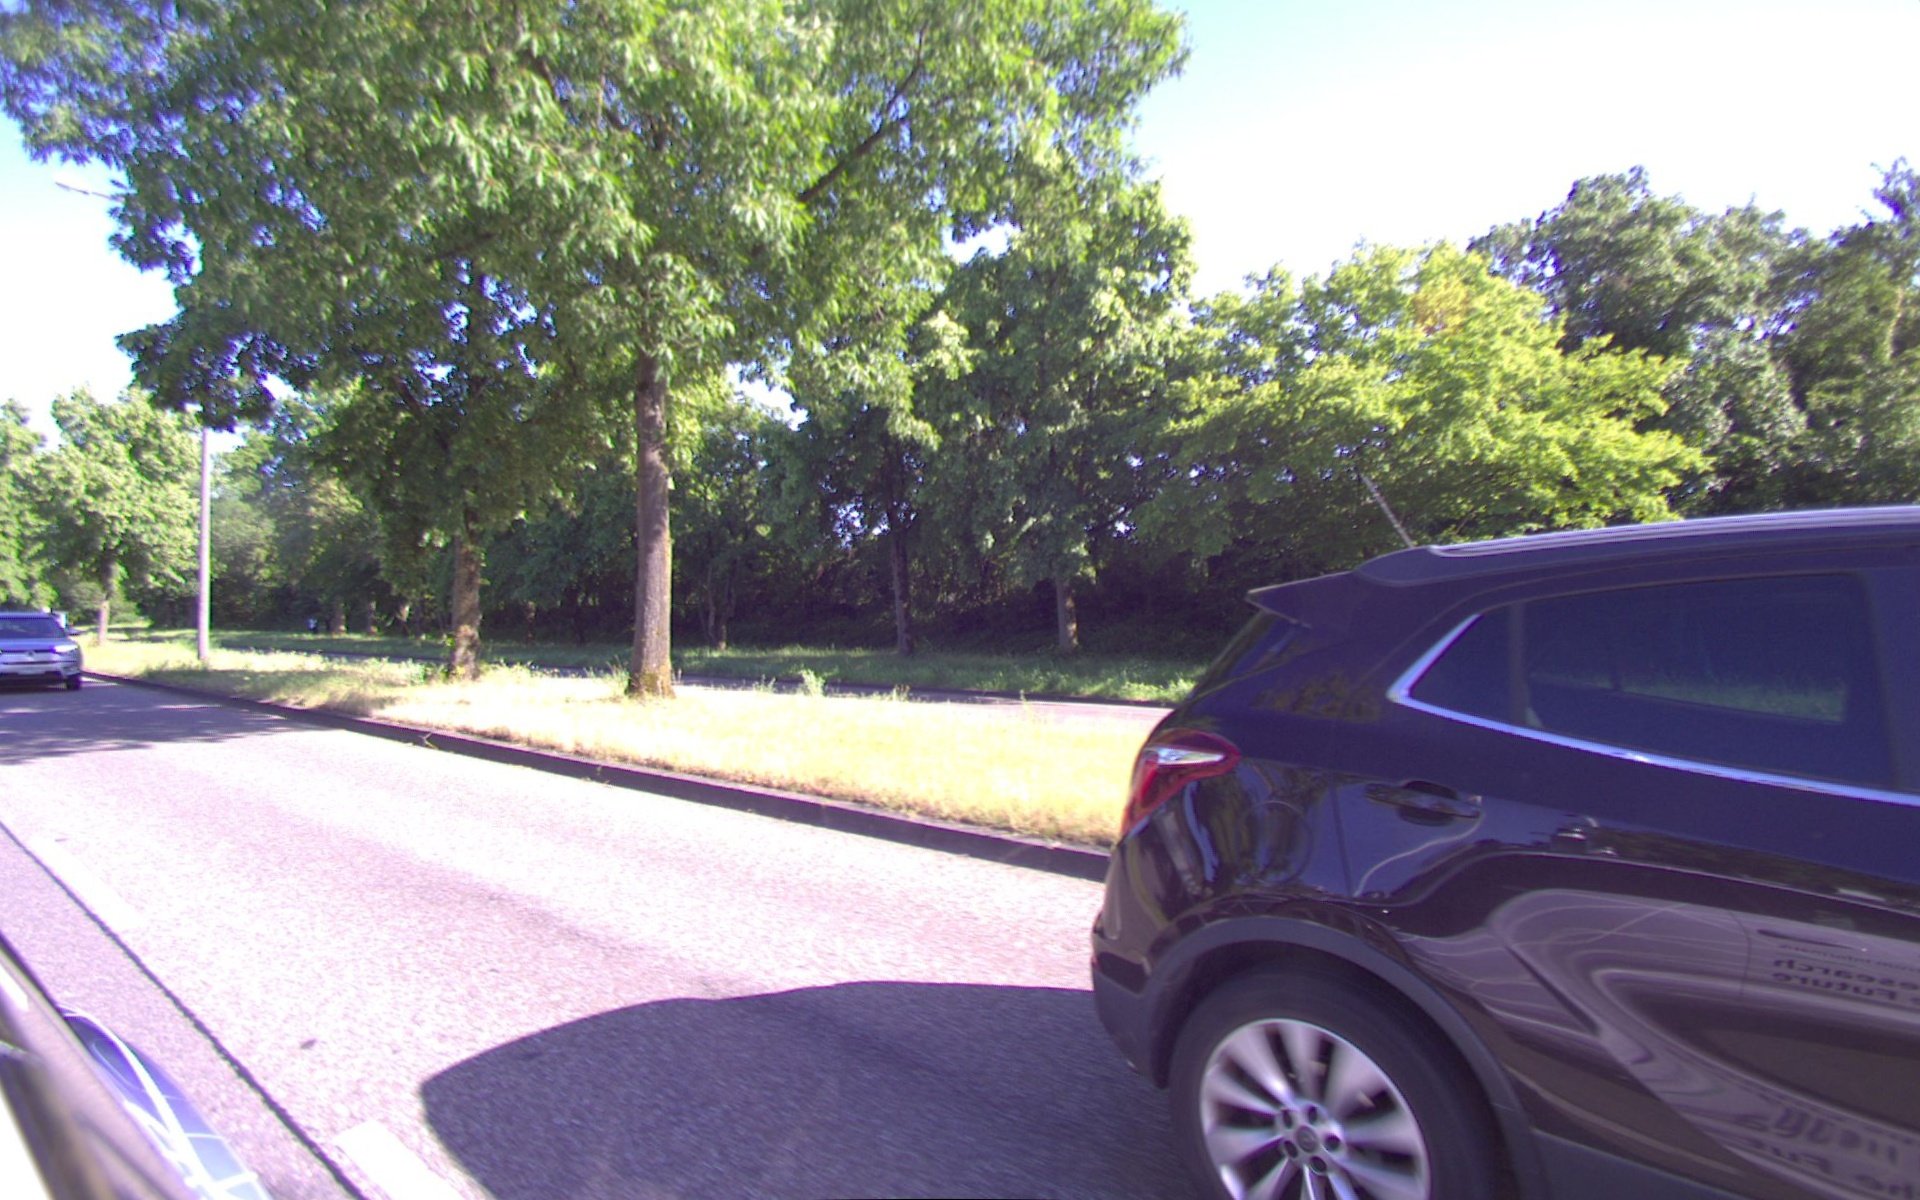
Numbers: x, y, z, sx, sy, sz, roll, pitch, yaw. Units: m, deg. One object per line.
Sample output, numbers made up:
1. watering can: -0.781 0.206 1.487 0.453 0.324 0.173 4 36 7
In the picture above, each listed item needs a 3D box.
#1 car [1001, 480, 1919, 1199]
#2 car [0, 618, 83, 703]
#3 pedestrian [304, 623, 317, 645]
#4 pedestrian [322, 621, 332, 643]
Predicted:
1. car: 2.316 0.646 1.773 4.415 1.644 1.678 -1 -1 41
2. car: -19.549 1.186 20.762 4.104 1.622 1.766 -1 -2 41
3. pedestrian: -50.562 2.634 78.817 0.679 1.671 0.674 0 2 42
4. pedestrian: -49.699 2.528 79.427 0.541 1.672 0.553 -1 0 45
